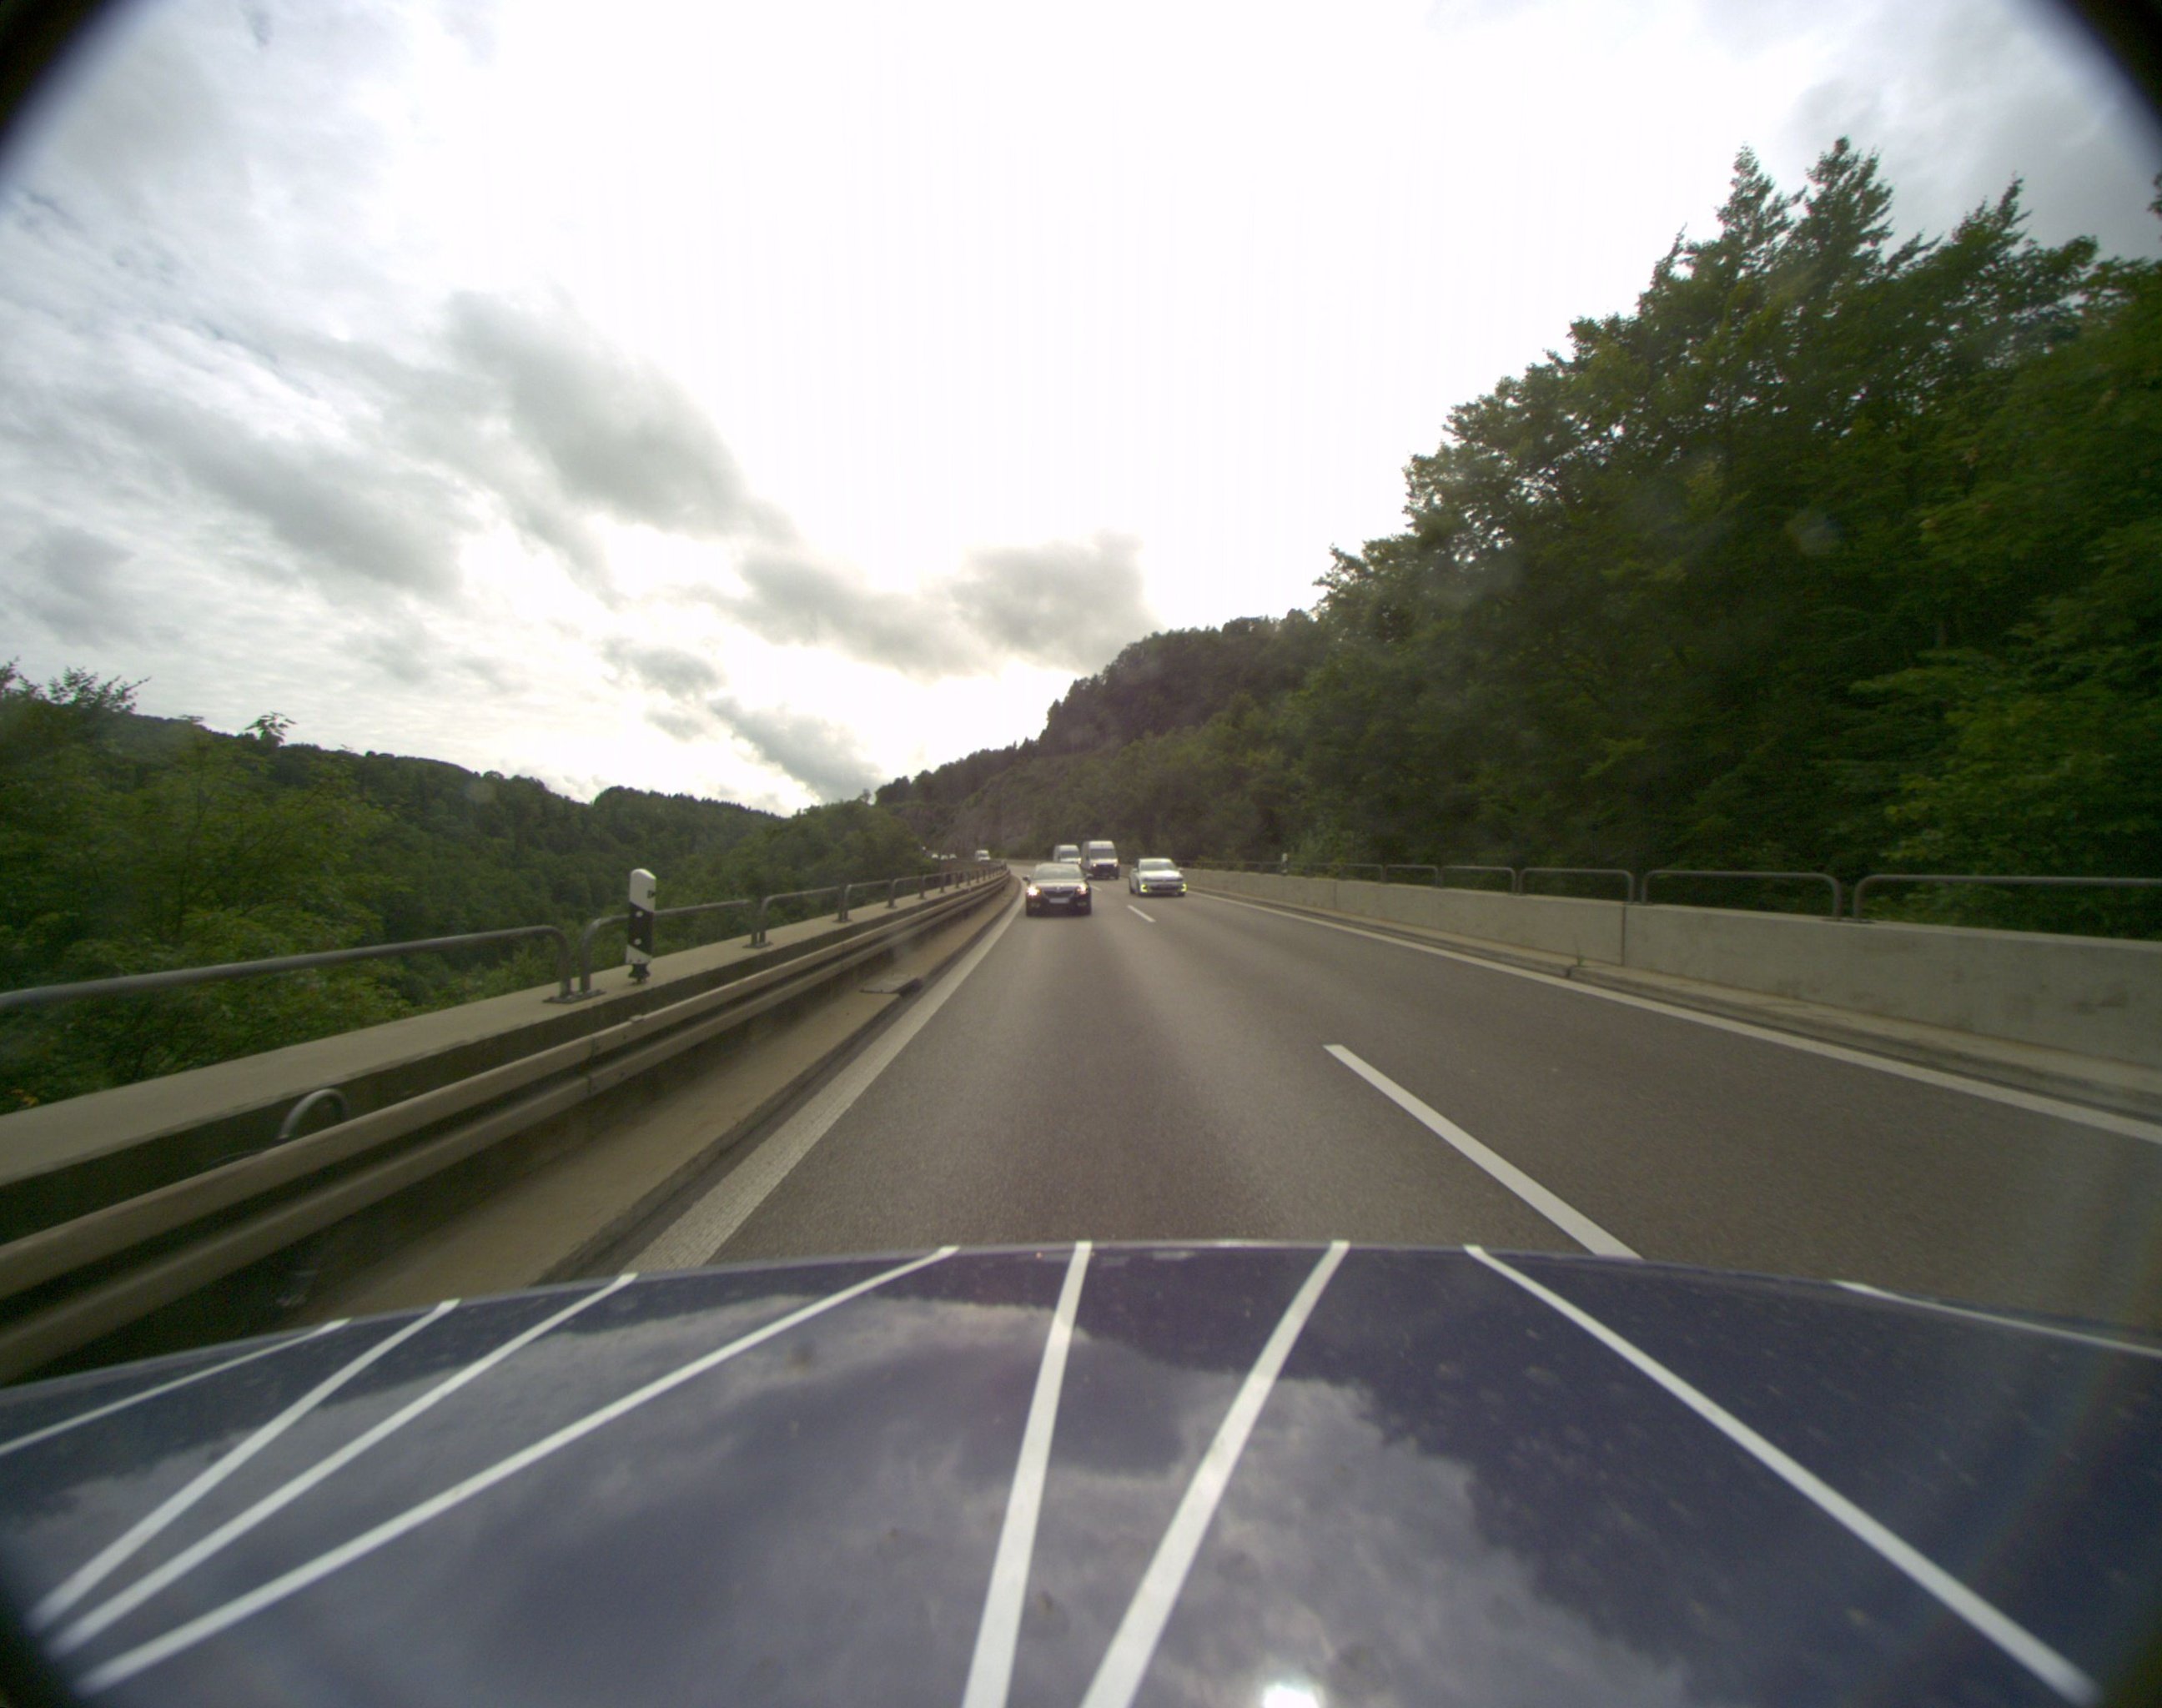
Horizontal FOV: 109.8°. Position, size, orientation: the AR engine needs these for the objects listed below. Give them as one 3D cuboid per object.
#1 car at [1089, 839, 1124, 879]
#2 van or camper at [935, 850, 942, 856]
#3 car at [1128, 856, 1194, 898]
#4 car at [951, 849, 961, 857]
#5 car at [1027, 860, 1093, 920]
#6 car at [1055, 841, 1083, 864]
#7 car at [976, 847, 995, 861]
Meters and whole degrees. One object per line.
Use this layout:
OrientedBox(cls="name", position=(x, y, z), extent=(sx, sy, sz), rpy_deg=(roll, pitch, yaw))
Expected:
OrientedBox(cls="car", position=(1.676, 0.285, 51.796), extent=(1.869, 2.444, 4.980), rpy_deg=(-1, 2, -3))
OrientedBox(cls="van or camper", position=(-46.219, -0.286, 246.320), extent=(2.001, 2.002, 3.995), rpy_deg=(-1, 0, -14))
OrientedBox(cls="car", position=(3.089, 0.836, 30.101), extent=(1.923, 1.452, 4.229), rpy_deg=(-1, 1, -3))
OrientedBox(cls="car", position=(-33.408, -0.196, 202.825), extent=(2.002, 2.002, 3.993), rpy_deg=(-1, 0, -19))
OrientedBox(cls="car", position=(-0.573, 0.943, 21.858), extent=(1.677, 1.419, 4.472), rpy_deg=(-1, 1, -1))
OrientedBox(cls="car", position=(-1.213, -0.167, 72.433), extent=(2.231, 2.061, 5.621), rpy_deg=(-1, 1, -5))
OrientedBox(cls="car", position=(-16.705, 0.013, 132.630), extent=(2.677, 2.409, 6.113), rpy_deg=(-2, 1, -14))
